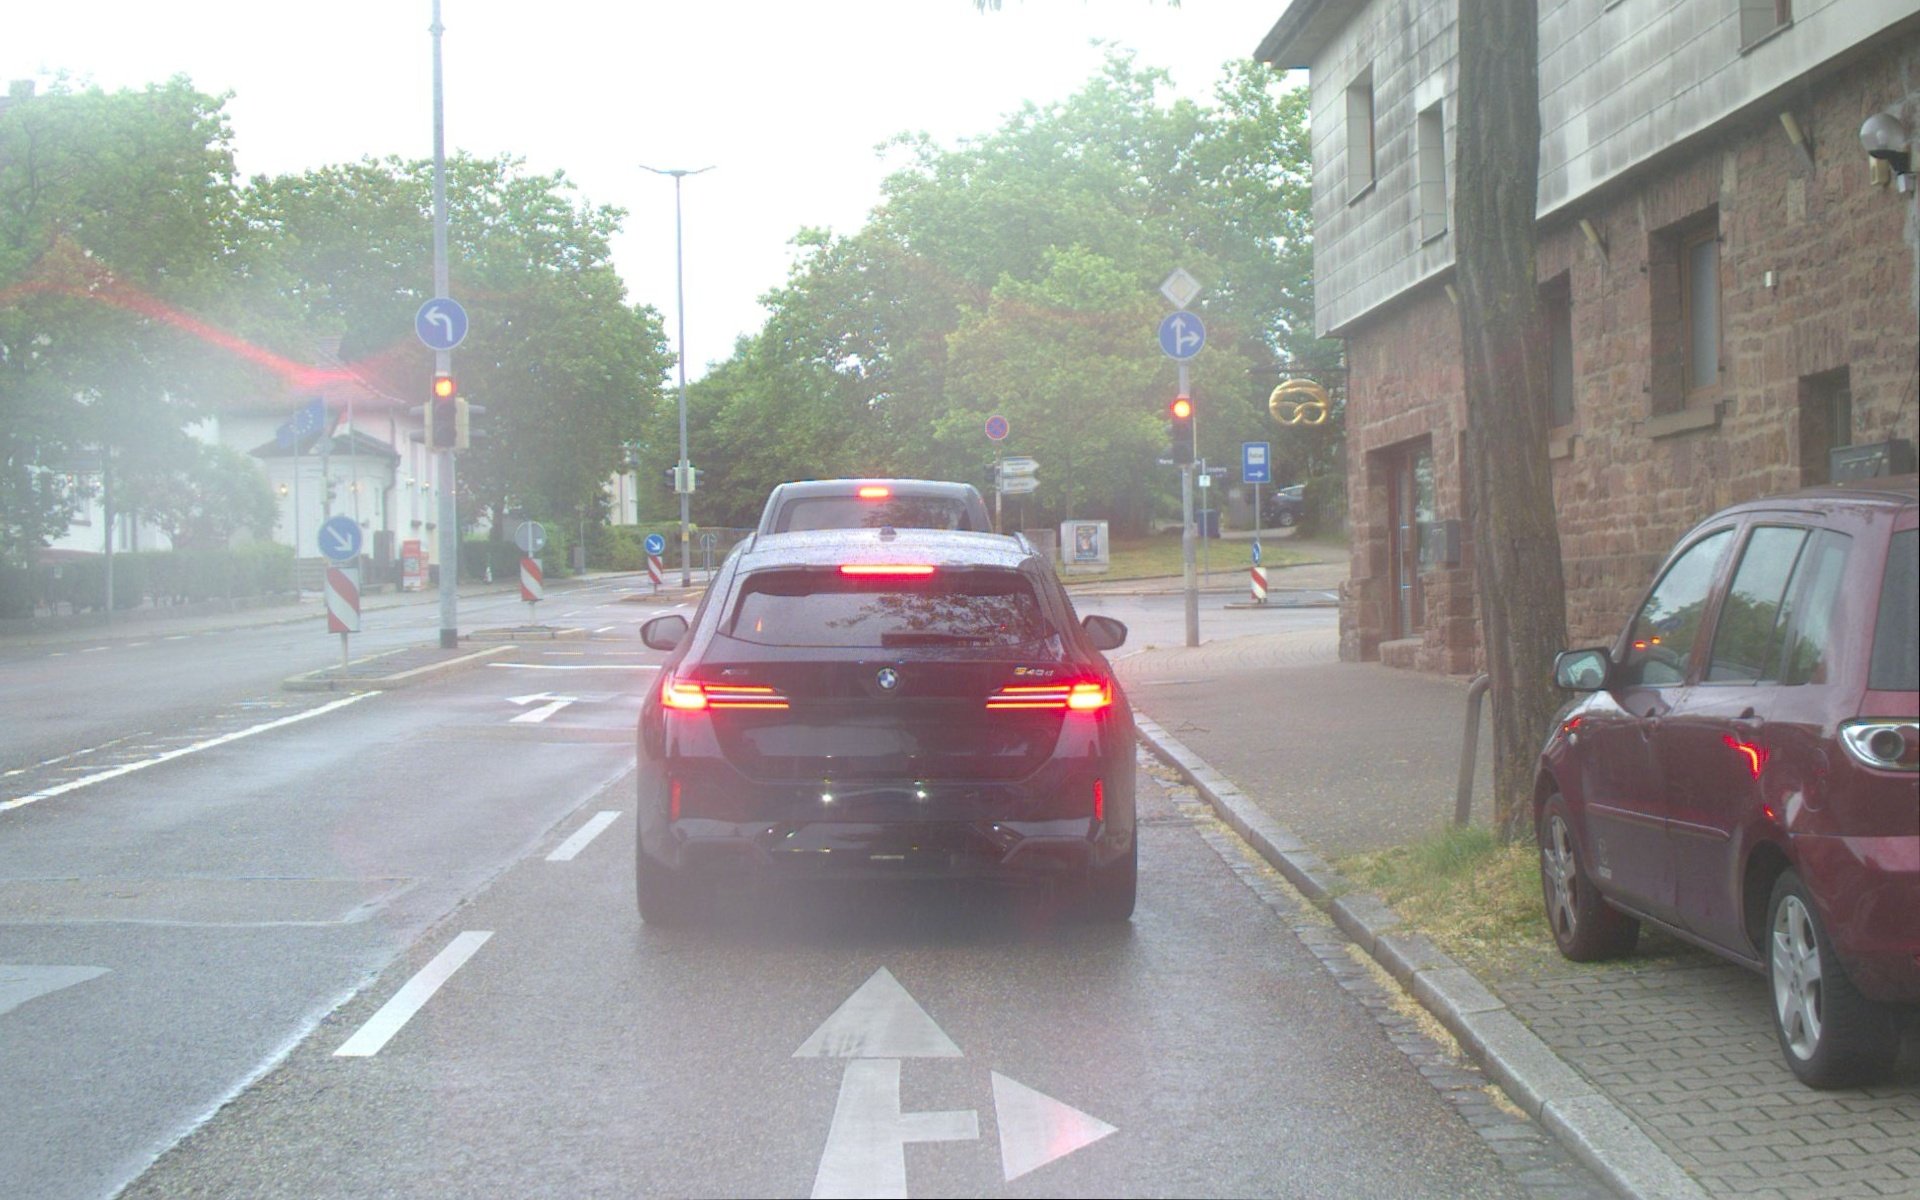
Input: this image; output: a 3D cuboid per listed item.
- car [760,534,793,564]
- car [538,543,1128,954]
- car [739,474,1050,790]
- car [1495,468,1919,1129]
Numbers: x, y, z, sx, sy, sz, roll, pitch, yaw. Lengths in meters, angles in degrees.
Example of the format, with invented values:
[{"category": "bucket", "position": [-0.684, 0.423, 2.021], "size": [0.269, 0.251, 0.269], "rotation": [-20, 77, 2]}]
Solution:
[{"category": "car", "position": [-8.666, -2.424, 162.568], "size": [1.464, 1.393, 3.322], "rotation": [0, 1, -1]}, {"category": "car", "position": [-0.554, 0.489, 14.339], "size": [2.064, 1.441, 4.484], "rotation": [0, 1, -3]}, {"category": "car", "position": [-0.464, 0.137, 21.866], "size": [1.783, 1.811, 4.001], "rotation": [0, 1, -2]}, {"category": "car", "position": [2.730, 0.390, 9.856], "size": [1.583, 1.485, 3.628], "rotation": [-4, 2, -3]}]
